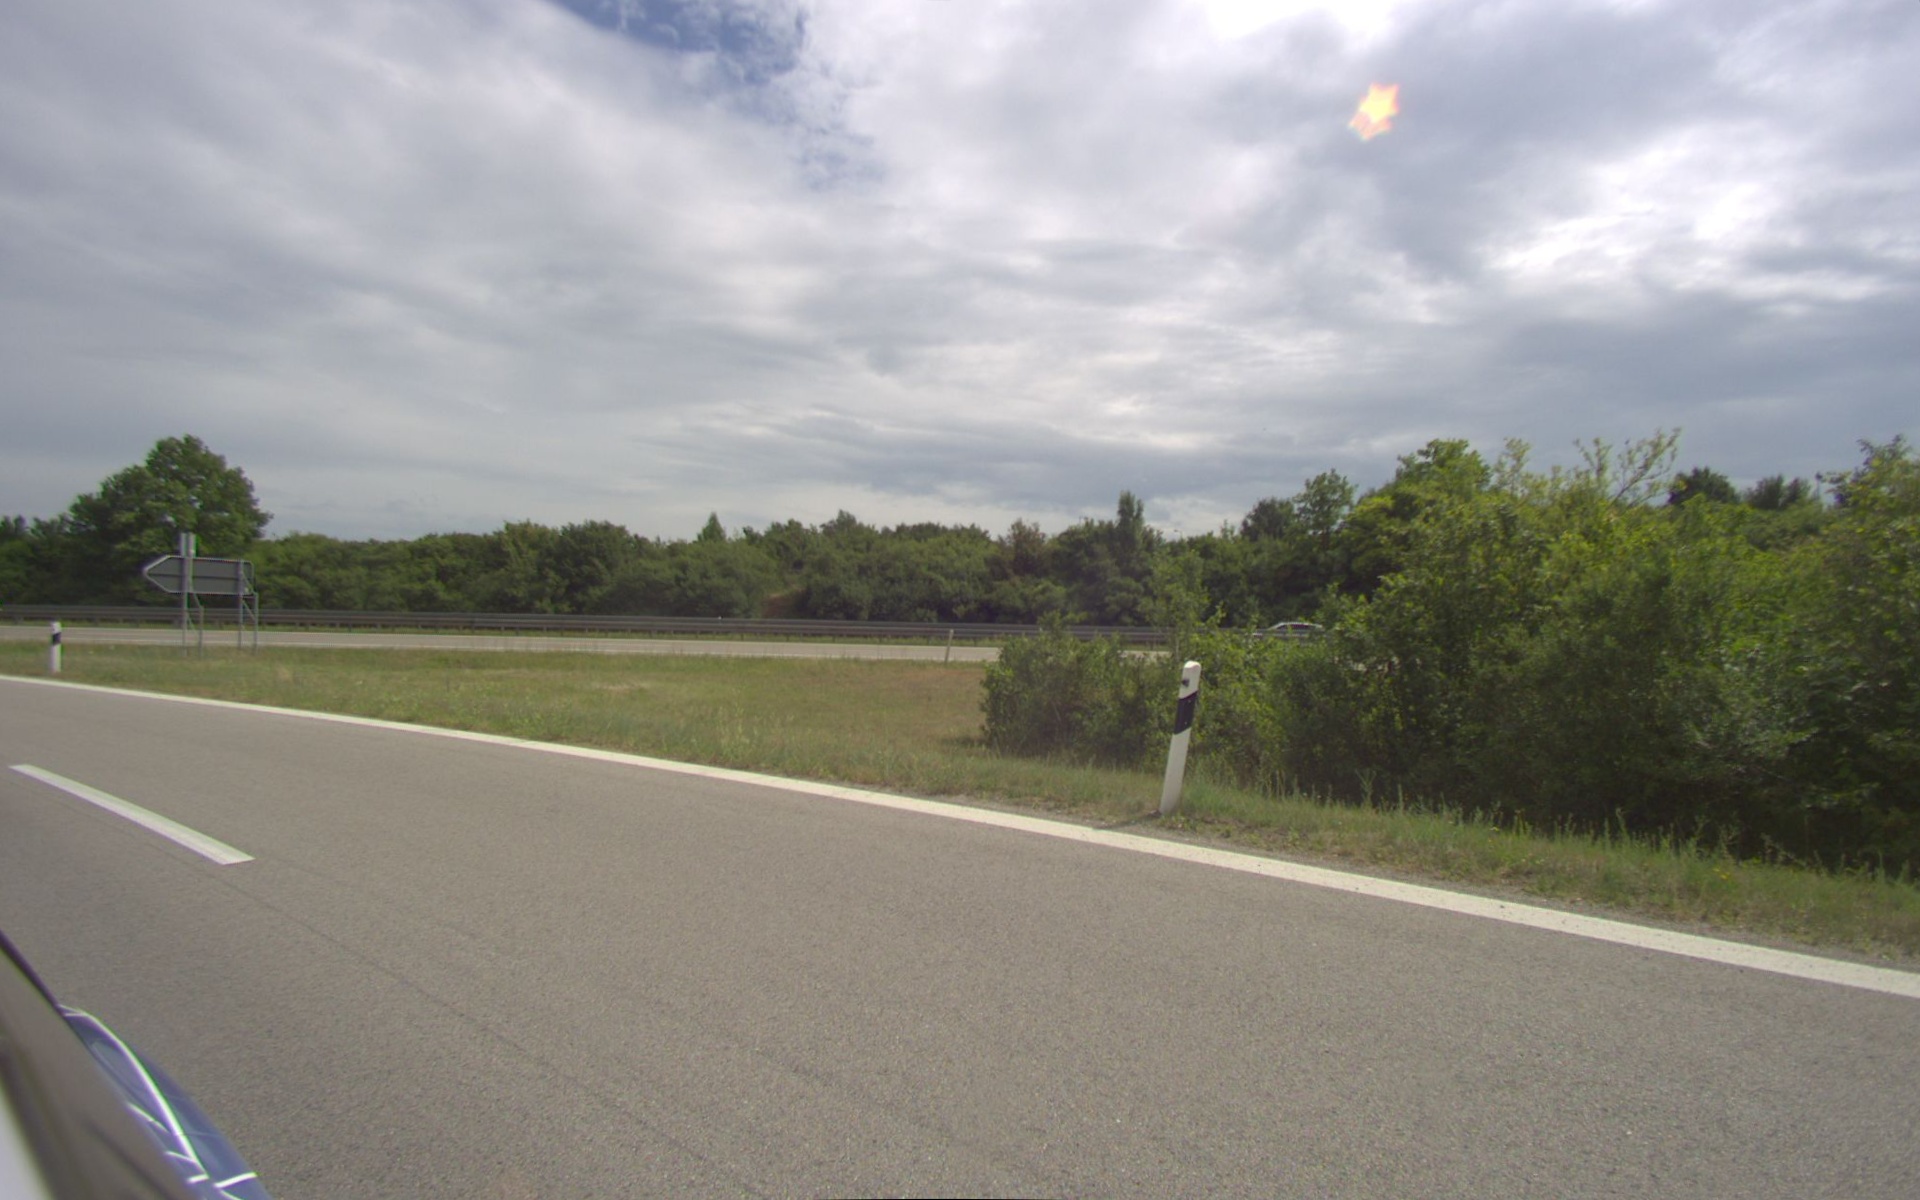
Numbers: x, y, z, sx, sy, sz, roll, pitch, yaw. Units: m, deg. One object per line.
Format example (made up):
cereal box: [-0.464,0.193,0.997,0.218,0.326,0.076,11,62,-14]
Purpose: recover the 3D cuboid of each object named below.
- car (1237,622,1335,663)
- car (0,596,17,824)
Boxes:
car: [15.747,2.042,49.022,4.153,1.887,1.842,0,0,5]
car: [-8.761,0.750,7.375,4.530,1.526,1.976,-1,0,36]
